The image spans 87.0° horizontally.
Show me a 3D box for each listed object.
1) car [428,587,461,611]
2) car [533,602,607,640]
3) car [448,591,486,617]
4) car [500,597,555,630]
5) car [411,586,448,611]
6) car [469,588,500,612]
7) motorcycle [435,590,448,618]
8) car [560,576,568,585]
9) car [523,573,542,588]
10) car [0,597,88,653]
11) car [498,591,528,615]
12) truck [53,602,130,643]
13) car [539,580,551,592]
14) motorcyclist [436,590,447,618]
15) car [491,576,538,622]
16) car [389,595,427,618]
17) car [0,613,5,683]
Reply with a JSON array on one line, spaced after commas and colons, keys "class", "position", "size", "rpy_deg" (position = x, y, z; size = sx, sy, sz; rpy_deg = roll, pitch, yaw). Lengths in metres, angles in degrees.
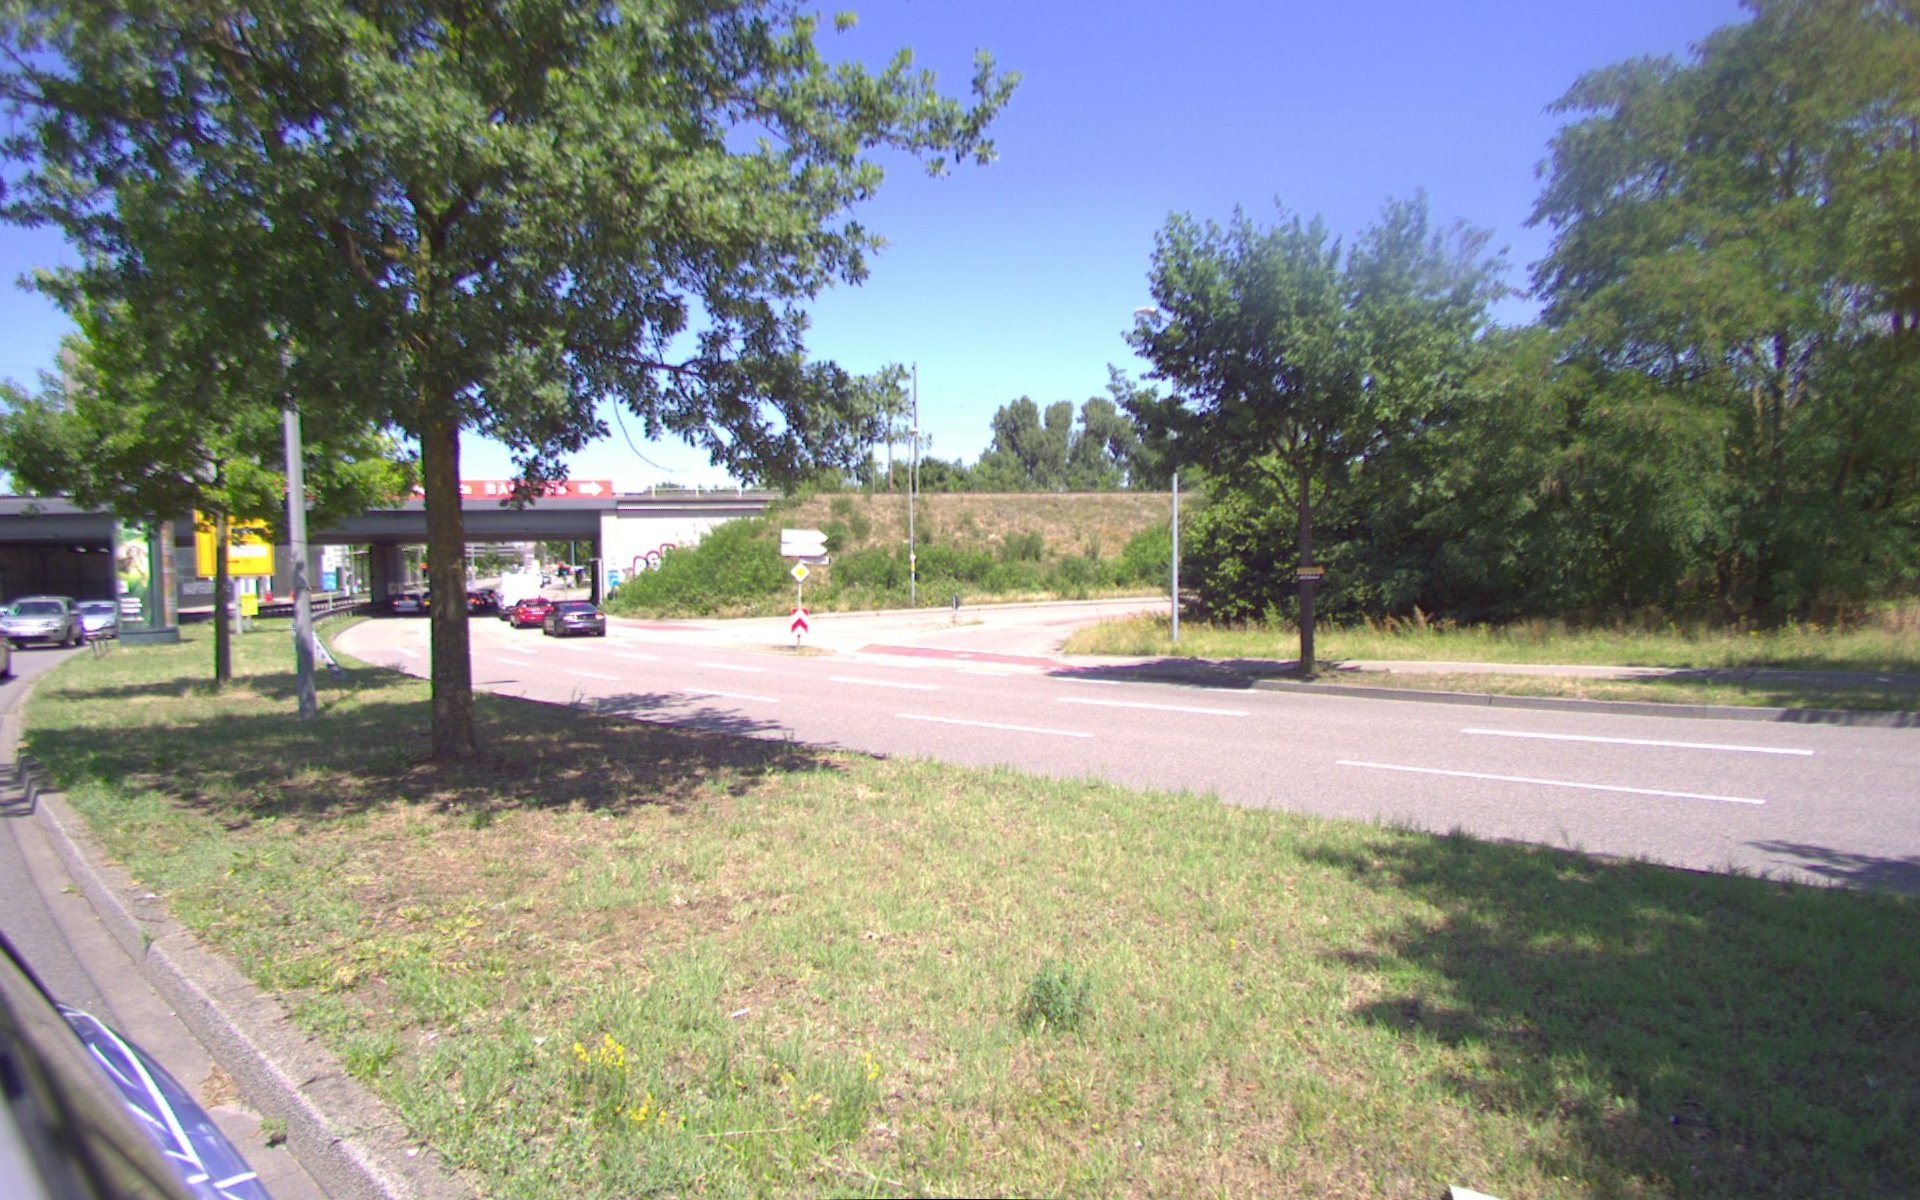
[{"class": "car", "position": [-42.675, -0.105, 83.872], "size": [1.876, 1.873, 4.013], "rpy_deg": [-1, 1, -18]}, {"class": "car", "position": [-15.820, 0.816, 40.883], "size": [1.785, 1.343, 4.581], "rpy_deg": [-1, 1, -34]}, {"class": "car", "position": [-31.776, 0.264, 65.329], "size": [1.611, 1.579, 4.085], "rpy_deg": [0, 0, -17]}, {"class": "car", "position": [-20.997, 0.625, 49.075], "size": [1.805, 1.448, 4.539], "rpy_deg": [-1, 1, -31]}, {"class": "car", "position": [-40.913, -0.163, 78.097], "size": [1.876, 1.873, 4.013], "rpy_deg": [-1, 1, -18]}, {"class": "car", "position": [-39.780, -0.014, 84.793], "size": [1.876, 1.873, 4.013], "rpy_deg": [-1, 1, -18]}, {"class": "motorcycle", "position": [-31.415, 0.225, 61.317], "size": [0.589, 1.691, 2.433], "rpy_deg": [-1, 1, -26]}, {"class": "car", "position": [-94.122, -4.682, 240.651], "size": [1.809, 2.029, 4.013], "rpy_deg": [-1, 1, -21]}, {"class": "car", "position": [-63.842, -2.903, 151.267], "size": [1.966, 2.118, 6.403], "rpy_deg": [-1, 1, -18]}, {"class": "car", "position": [-30.785, 0.793, 33.686], "size": [1.815, 1.708, 3.712], "rpy_deg": [-1, 1, -28]}, {"class": "car", "position": [-32.840, 0.206, 74.392], "size": [1.747, 1.680, 4.028], "rpy_deg": [-1, 0, -20]}, {"class": "truck", "position": [-34.746, 0.858, 40.589], "size": [1.703, 1.513, 4.012], "rpy_deg": [-1, 1, -32]}, {"class": "car", "position": [-70.242, -2.385, 171.367], "size": [1.678, 2.029, 4.013], "rpy_deg": [-1, 1, -20]}, {"class": "motorcyclist", "position": [-31.338, 0.240, 61.160], "size": [0.579, 1.638, 0.564], "rpy_deg": [-1, 1, -25]}, {"class": "car", "position": [-25.761, -0.019, 58.398], "size": [2.065, 2.519, 5.828], "rpy_deg": [-1, -1, -27]}, {"class": "car", "position": [-35.714, 0.401, 65.560], "size": [1.611, 1.413, 4.235], "rpy_deg": [0, 0, -21]}, {"class": "car", "position": [-20.387, 0.985, 20.341], "size": [1.622, 1.409, 4.058], "rpy_deg": [1, -1, -42]}]
